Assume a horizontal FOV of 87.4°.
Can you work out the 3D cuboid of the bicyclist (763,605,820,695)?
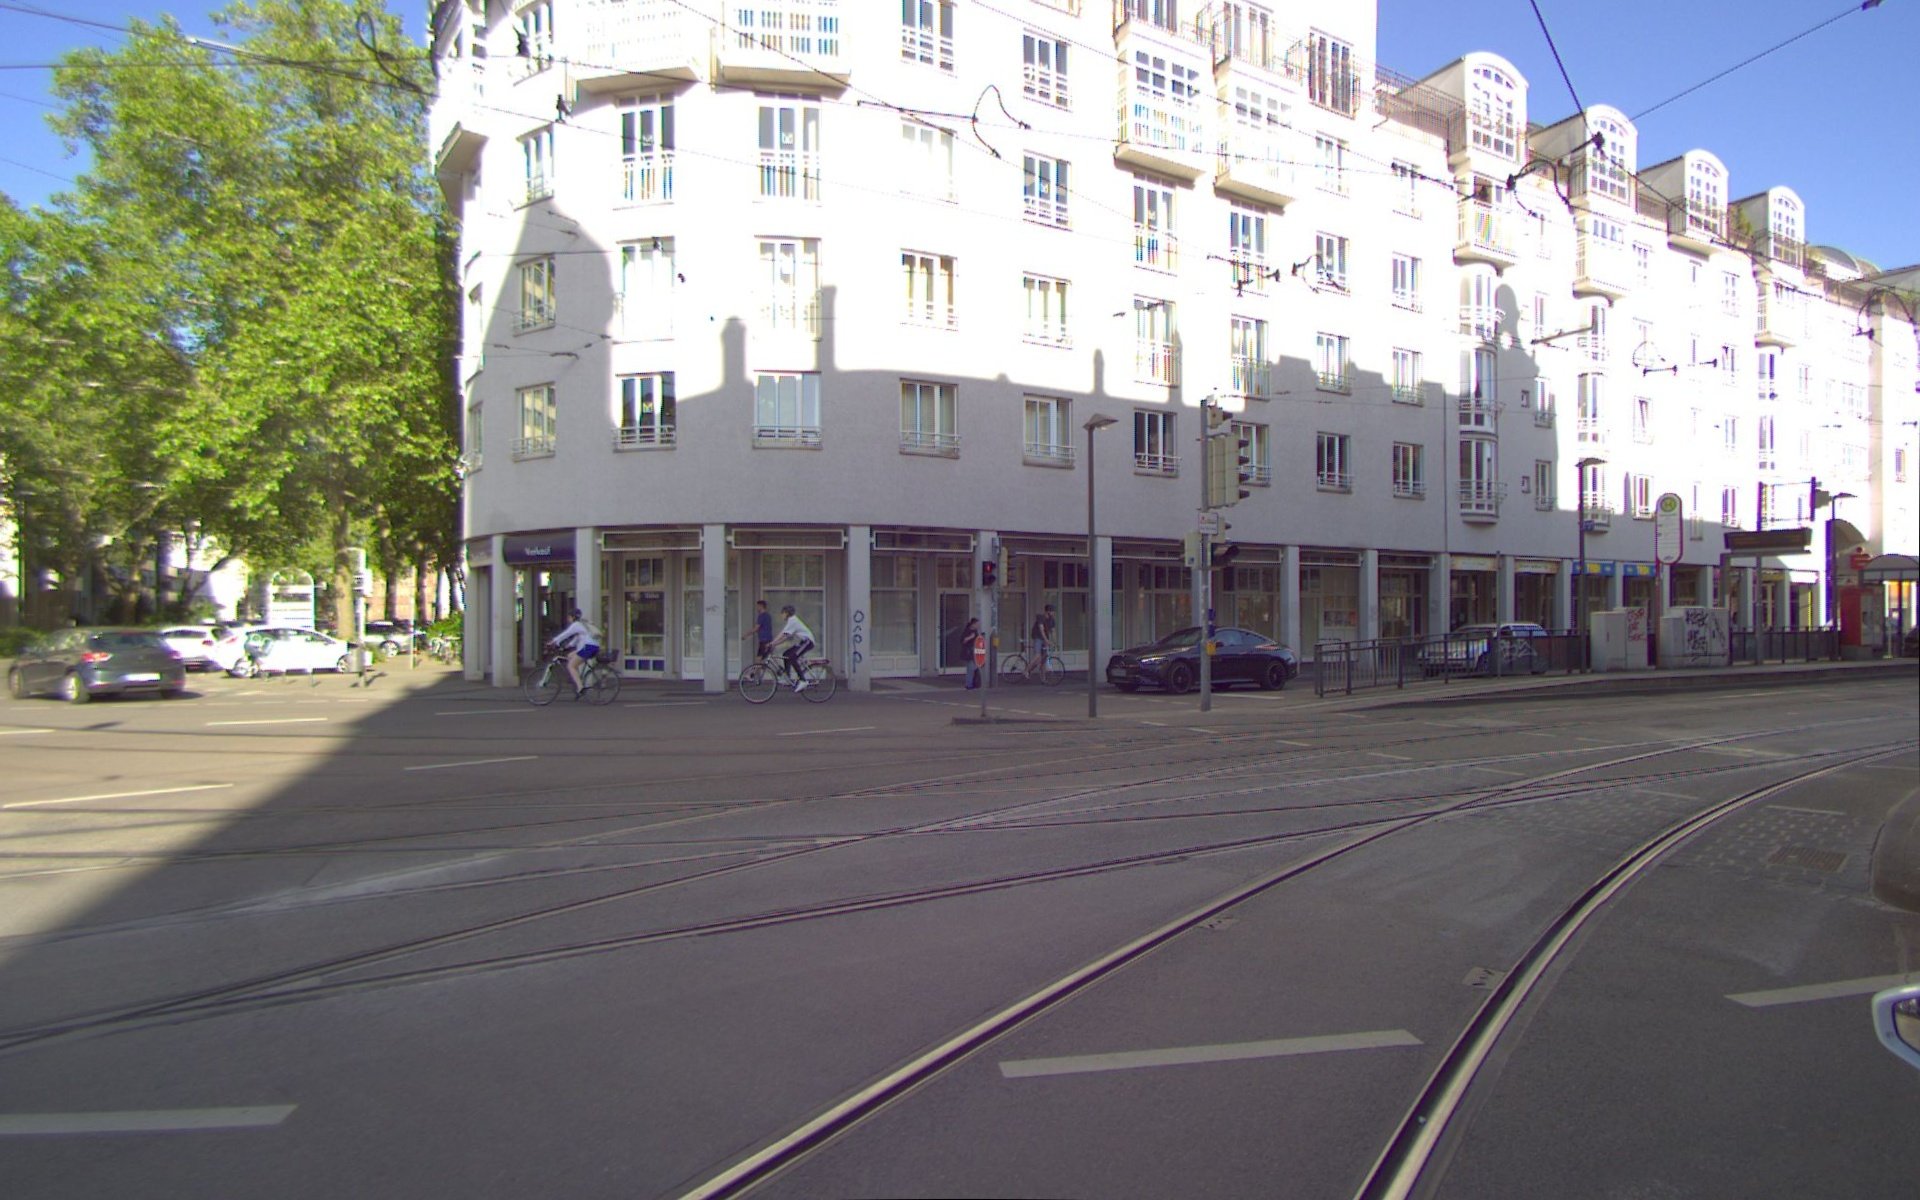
[{"bbox_3d":[-3.111,0.912,18.512,0.884,1.606,0.586,1,-2,-28],"label":"bicyclist"}]

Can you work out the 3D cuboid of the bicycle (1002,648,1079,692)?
[{"bbox_3d":[1.867,1.628,23.353,1.727,0.993,0.678,0,-1,-2],"label":"bicycle"}]

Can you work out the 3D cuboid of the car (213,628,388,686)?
[{"bbox_3d":[-19.393,1.620,29.641,4.072,1.422,1.781,-2,0,-43],"label":"car"}]

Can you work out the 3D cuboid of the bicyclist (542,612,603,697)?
[{"bbox_3d":[-6.984,0.985,18.154,0.911,1.507,0.589,1,-2,-12],"label":"bicyclist"}]

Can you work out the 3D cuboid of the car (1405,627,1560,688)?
[{"bbox_3d":[14.305,1.519,27.460,4.353,1.535,1.720,1,-1,-30],"label":"car"}]

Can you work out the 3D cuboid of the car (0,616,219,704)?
[{"bbox_3d":[-17.164,1.145,20.078,3.922,1.617,2.000,0,-2,22],"label":"car"}]

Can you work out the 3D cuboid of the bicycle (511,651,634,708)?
[{"bbox_3d":[-6.946,1.428,18.101,1.977,0.985,0.594,1,-2,-12],"label":"bicycle"}]

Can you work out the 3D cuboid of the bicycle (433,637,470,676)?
[{"bbox_3d":[-17.740,1.948,34.996,0.593,1.250,2.863,-1,0,-38],"label":"bicycle"}]

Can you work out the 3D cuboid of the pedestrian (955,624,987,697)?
[{"bbox_3d":[0.245,1.304,21.904,0.434,1.554,0.683,-1,0,24],"label":"pedestrian"}]

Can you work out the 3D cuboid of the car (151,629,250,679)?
[{"bbox_3d":[-25.182,1.744,33.447,1.779,1.422,3.983,-2,0,-25],"label":"car"}]

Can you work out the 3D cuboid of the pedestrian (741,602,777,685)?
[{"bbox_3d":[-4.592,0.984,22.948,0.732,1.857,0.461,-1,0,-8],"label":"pedestrian"}]

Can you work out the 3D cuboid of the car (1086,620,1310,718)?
[{"bbox_3d":[5.242,1.409,22.074,4.555,1.936,2.216,1,-1,-30],"label":"car"}]

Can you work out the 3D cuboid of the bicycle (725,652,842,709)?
[{"bbox_3d":[-3.205,1.442,18.295,2.021,0.985,0.592,2,-2,-28],"label":"bicycle"}]

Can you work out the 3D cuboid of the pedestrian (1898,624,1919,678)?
[{"bbox_3d":[28.116,1.499,29.441,0.734,1.548,0.728,-1,0,-30],"label":"pedestrian"}]

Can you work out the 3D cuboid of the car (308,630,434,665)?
[{"bbox_3d":[-23.990,1.903,41.085,4.353,1.353,1.984,1,-1,-30],"label":"car"}]

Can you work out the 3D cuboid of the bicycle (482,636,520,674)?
[{"bbox_3d":[-16.506,1.945,36.064,0.593,1.250,2.863,-1,0,-38],"label":"bicycle"}]

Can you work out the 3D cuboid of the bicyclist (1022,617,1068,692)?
[{"bbox_3d":[1.966,1.259,23.368,1.009,1.718,0.724,0,-1,-1],"label":"bicyclist"}]
